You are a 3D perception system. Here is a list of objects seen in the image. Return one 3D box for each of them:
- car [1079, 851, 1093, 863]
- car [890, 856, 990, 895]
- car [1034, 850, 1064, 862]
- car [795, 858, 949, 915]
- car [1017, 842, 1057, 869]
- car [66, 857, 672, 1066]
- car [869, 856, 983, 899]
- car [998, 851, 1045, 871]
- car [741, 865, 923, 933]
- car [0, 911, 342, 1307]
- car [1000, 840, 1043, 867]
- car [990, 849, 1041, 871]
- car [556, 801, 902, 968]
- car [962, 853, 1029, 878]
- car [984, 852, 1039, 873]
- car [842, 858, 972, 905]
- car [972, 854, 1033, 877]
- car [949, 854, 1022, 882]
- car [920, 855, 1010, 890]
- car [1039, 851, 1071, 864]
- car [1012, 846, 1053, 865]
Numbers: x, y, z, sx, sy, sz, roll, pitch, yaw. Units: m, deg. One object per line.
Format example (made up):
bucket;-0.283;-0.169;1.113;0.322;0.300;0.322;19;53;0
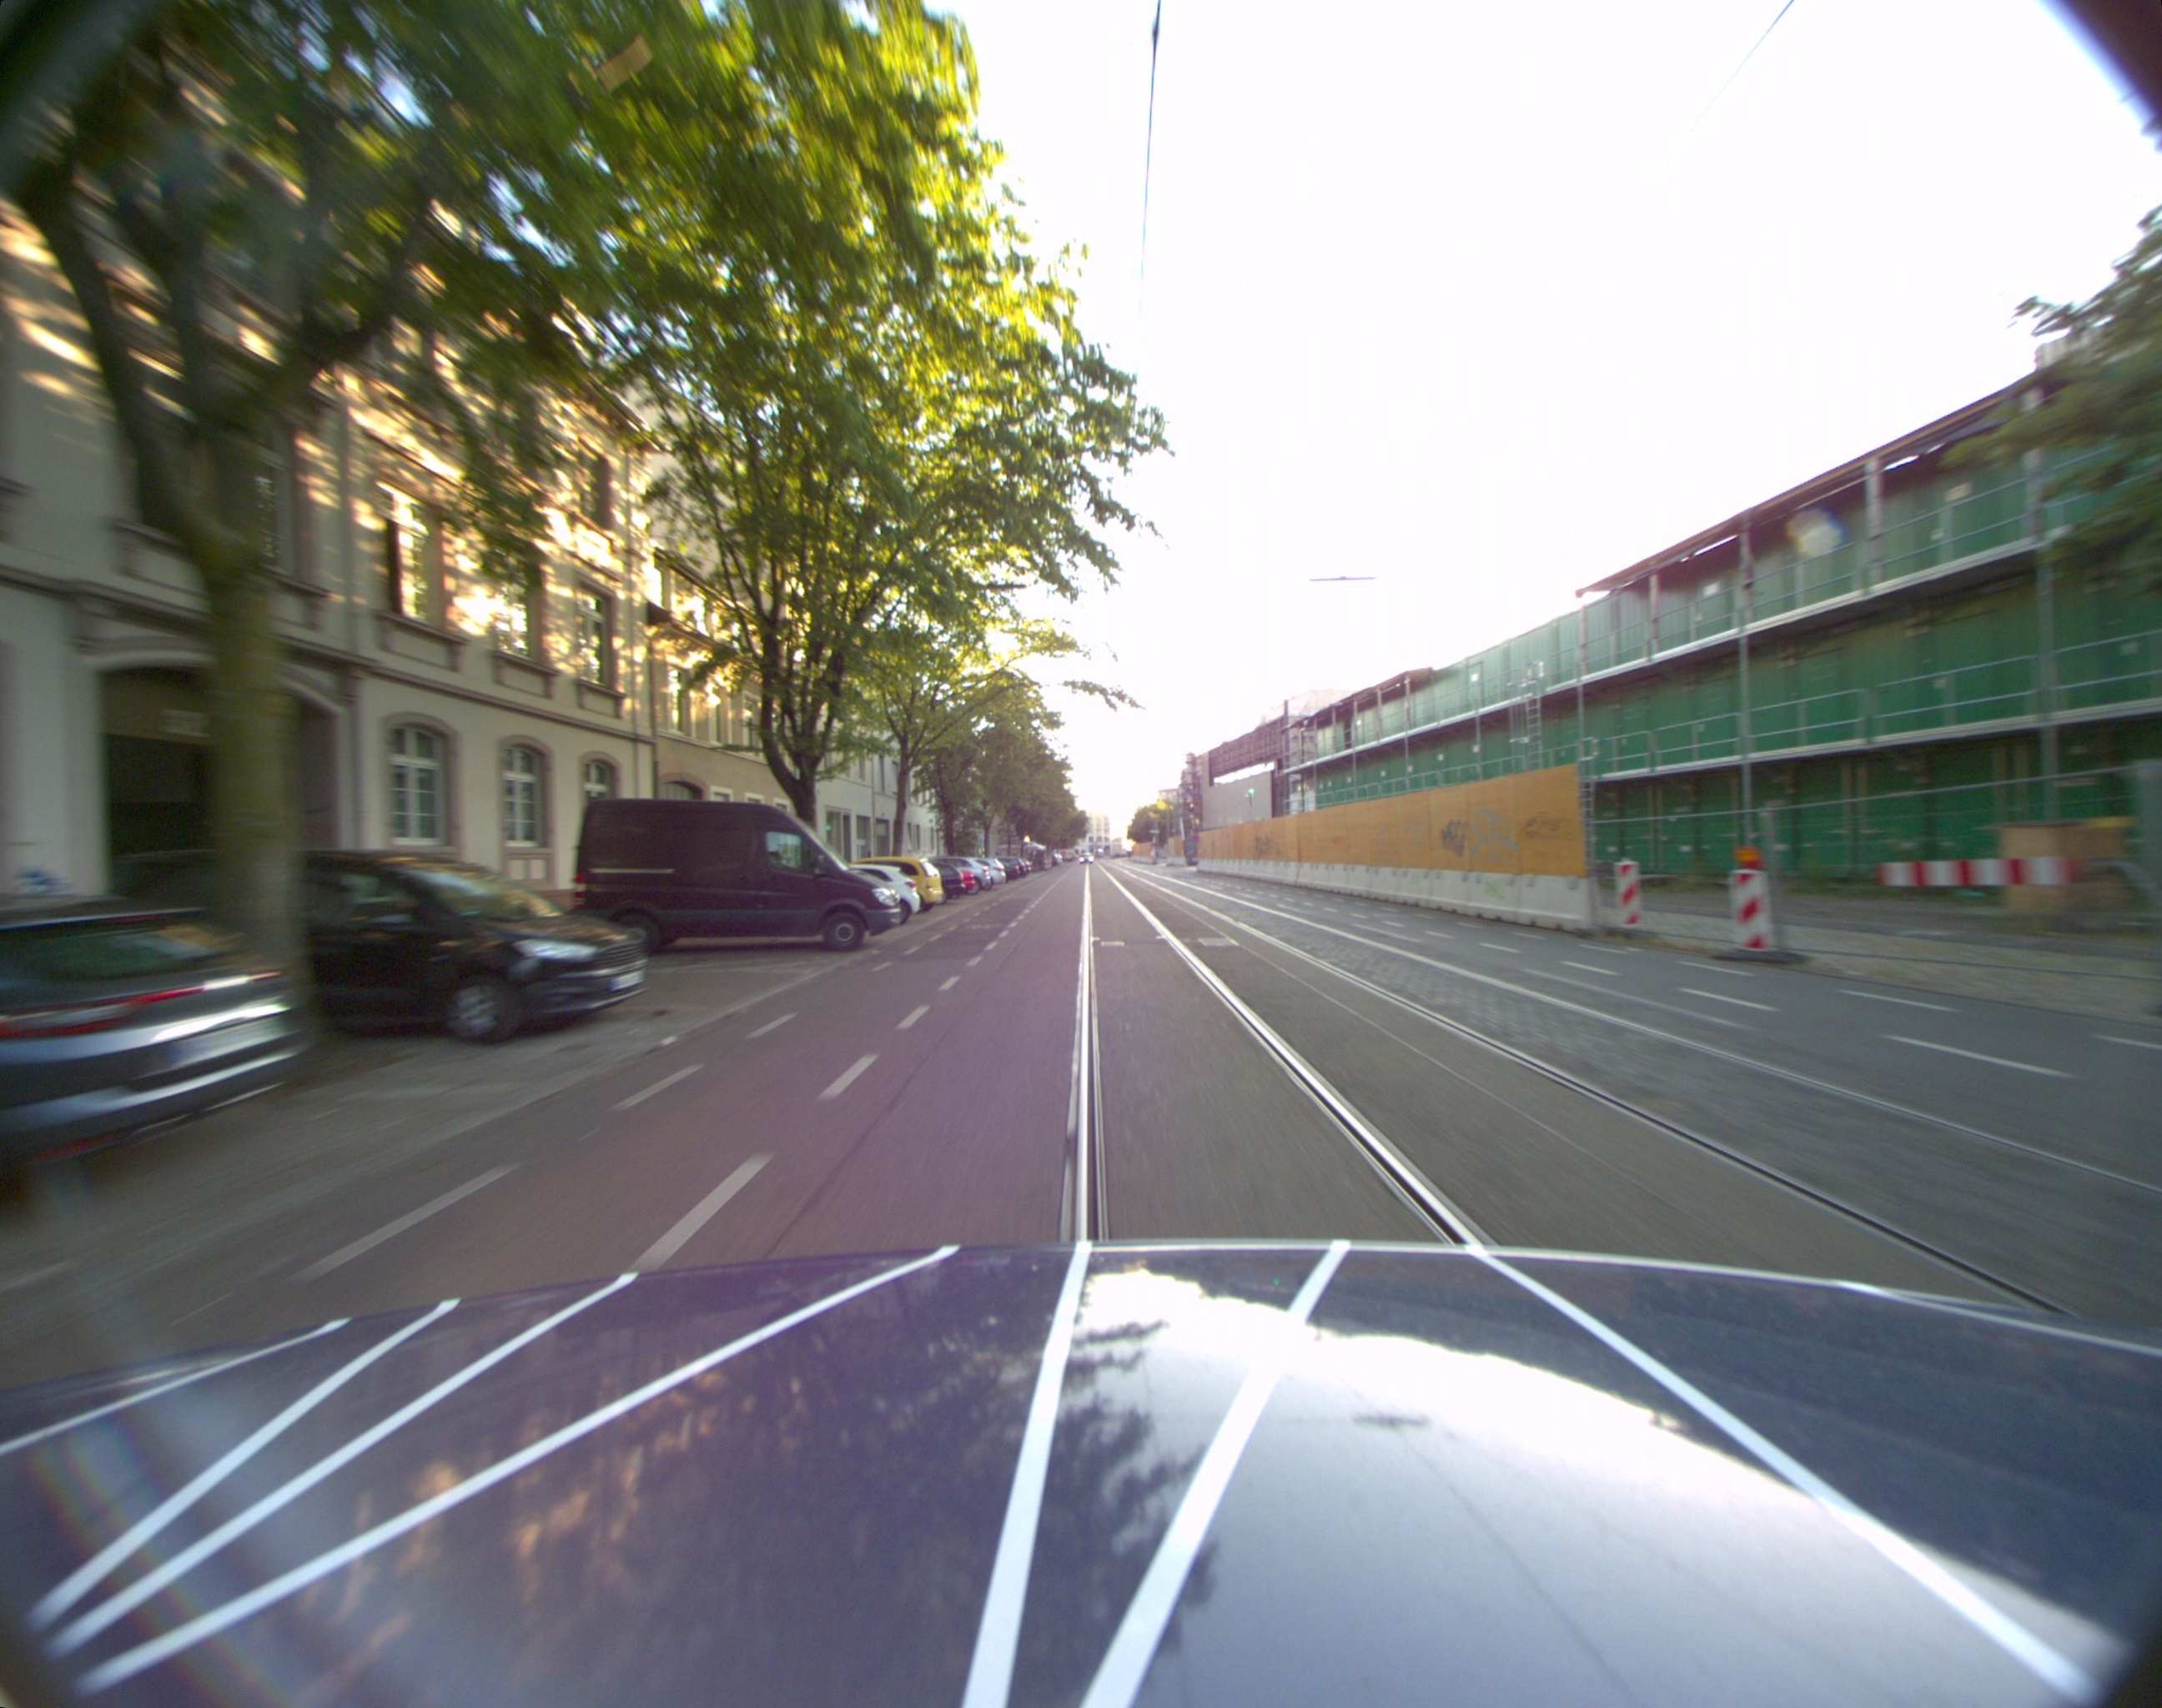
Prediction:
car;0.775;0.371;113.122;1.998;1.674;4.000;-2;0;1
car;-5.843;0.860;31.599;3.996;1.566;1.720;0;0;-11
car;-4.273;0.277;102.784;3.992;1.681;1.722;0;0;1
car;-6.007;0.934;22.174;3.991;1.589;1.722;0;0;2
car;-4.732;0.181;81.001;3.997;2.811;1.720;0;0;-14
car;-6.284;0.886;7.087;3.992;1.689;1.722;0;0;-1
car;-5.891;0.889;29.182;3.991;1.566;1.722;0;0;2
car;-5.320;0.616;68.057;3.997;1.760;1.720;0;0;-14
car;-5.918;1.027;18.342;3.998;1.477;1.719;0;0;-17
car;-6.384;1.067;3.346;4.121;1.444;1.808;0;-1;-15
car;-5.753;-0.050;74.079;3.992;2.551;1.722;0;0;1
car;-5.533;0.486;64.128;3.997;1.829;1.720;0;0;-14
car;-5.890;0.470;13.446;5.236;2.605;1.925;0;1;-16
car;-5.455;0.739;48.380;3.997;1.566;1.720;0;0;-14
car;-5.350;0.642;58.083;3.997;1.566;1.720;0;0;-14
car;-5.876;0.918;25.935;3.991;1.566;1.722;0;0;2
car;-5.519;0.766;53.277;3.997;1.566;1.720;0;0;-14
car;-5.496;0.792;43.586;3.997;1.566;1.720;0;0;-14
car;-5.425;0.829;35.392;3.997;1.566;1.720;0;0;-14
car;-3.364;0.454;98.979;3.992;1.681;1.722;0;0;1
car;-4.984;0.160;78.183;3.997;1.952;1.720;0;0;-14
